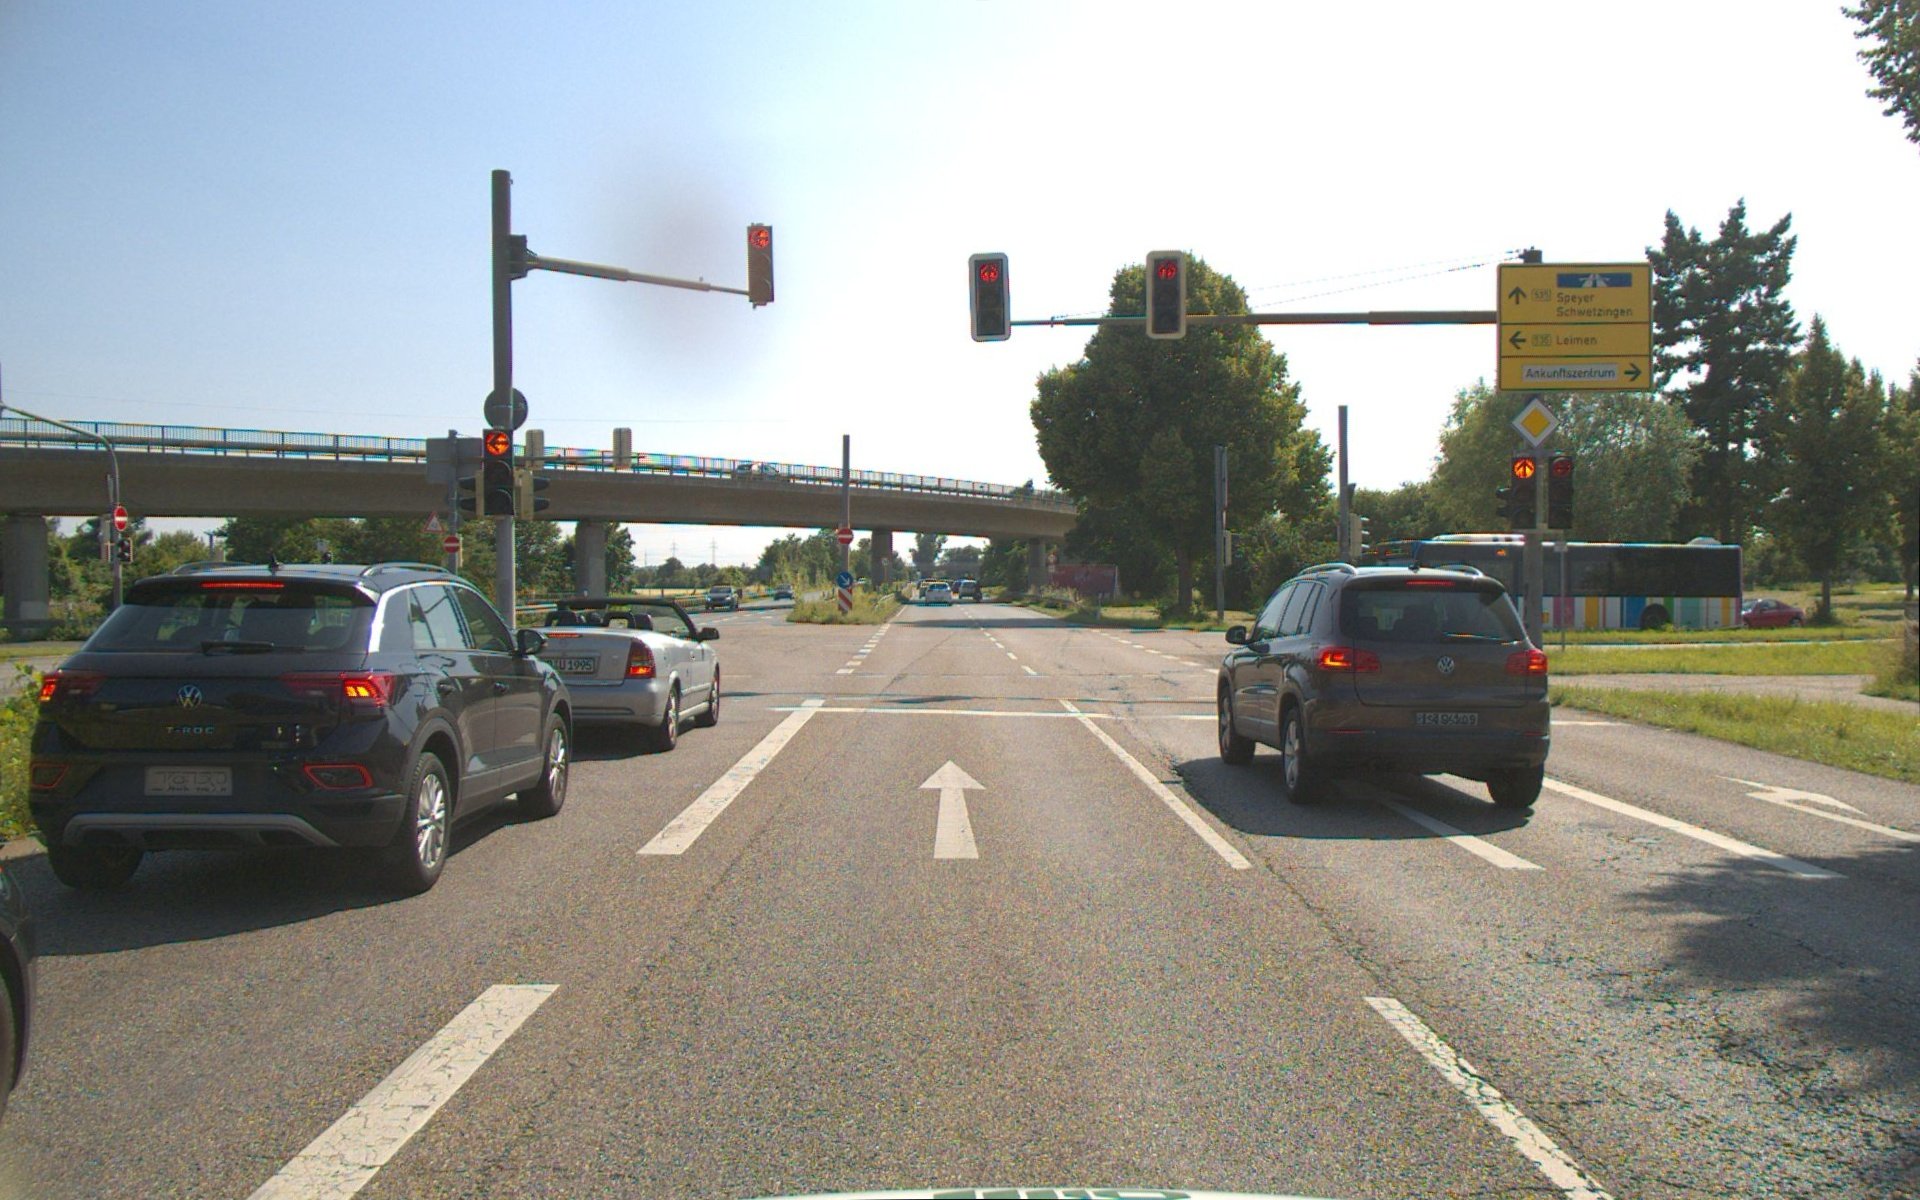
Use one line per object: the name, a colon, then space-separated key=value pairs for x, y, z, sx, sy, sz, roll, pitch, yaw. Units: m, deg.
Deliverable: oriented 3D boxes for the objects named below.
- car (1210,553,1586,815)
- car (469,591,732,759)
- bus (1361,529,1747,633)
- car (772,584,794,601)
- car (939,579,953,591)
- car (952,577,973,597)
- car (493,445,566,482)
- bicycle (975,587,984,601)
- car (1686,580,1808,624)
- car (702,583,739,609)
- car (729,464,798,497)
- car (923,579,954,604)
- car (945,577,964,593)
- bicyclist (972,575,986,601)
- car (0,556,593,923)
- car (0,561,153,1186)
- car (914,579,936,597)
car: x=3.197 y=0.539 z=12.954 sx=1.720 sy=1.684 sz=4.145 roll=1 pitch=0 yaw=-2
car: x=-3.275 y=0.612 z=15.815 sx=1.639 sy=1.358 sz=4.098 roll=0 pitch=1 yaw=-1
bus: x=18.334 y=-0.635 z=50.997 sx=11.744 sy=2.927 sz=2.929 roll=-1 pitch=0 yaw=-16
car: x=-16.028 y=-0.683 z=150.252 sx=1.582 sy=1.467 sz=3.775 roll=-3 pitch=1 yaw=-1
car: x=-2.030 y=-2.188 z=244.724 sx=1.953 sy=1.684 sz=3.999 roll=2 pitch=0 yaw=-1
car: x=0.271 y=-1.194 z=150.040 sx=1.835 sy=1.668 sz=4.000 roll=2 pitch=1 yaw=0
car: x=-20.429 y=-6.452 z=78.551 sx=1.298 sy=1.512 sz=3.183 roll=0 pitch=1 yaw=38
bicycle: x=1.491 y=-0.456 z=125.936 sx=0.588 sy=1.000 sz=2.361 roll=-1 pitch=1 yaw=-1
car: x=27.381 y=0.058 z=57.534 sx=3.932 sy=1.422 sz=1.670 roll=-1 pitch=1 yaw=-23
car: x=-15.324 y=-0.247 z=105.954 sx=1.845 sy=1.541 sz=4.147 roll=-3 pitch=1 yaw=-2
car: x=-11.150 y=-6.758 z=94.084 sx=1.956 sy=1.512 sz=3.993 roll=2 pitch=0 yaw=29
car: x=-1.323 y=-0.548 z=103.276 sx=1.813 sy=1.486 sz=4.000 roll=1 pitch=1 yaw=0
car: x=-0.634 y=-1.632 z=185.820 sx=1.953 sy=1.660 sz=3.999 roll=2 pitch=0 yaw=-1
bicyclist: x=1.437 y=-0.916 z=126.153 sx=0.986 sy=1.919 sz=1.327 roll=-1 pitch=0 yaw=0
car: x=-3.327 y=0.572 z=9.173 sx=1.693 sy=1.574 sz=4.098 roll=0 pitch=1 yaw=-1
car: x=-3.108 y=0.672 z=2.662 sx=1.632 sy=1.500 sz=4.098 roll=0 pitch=1 yaw=-1
car: x=-3.122 y=-1.069 z=146.645 sx=1.835 sy=1.518 sz=4.000 roll=0 pitch=1 yaw=0
